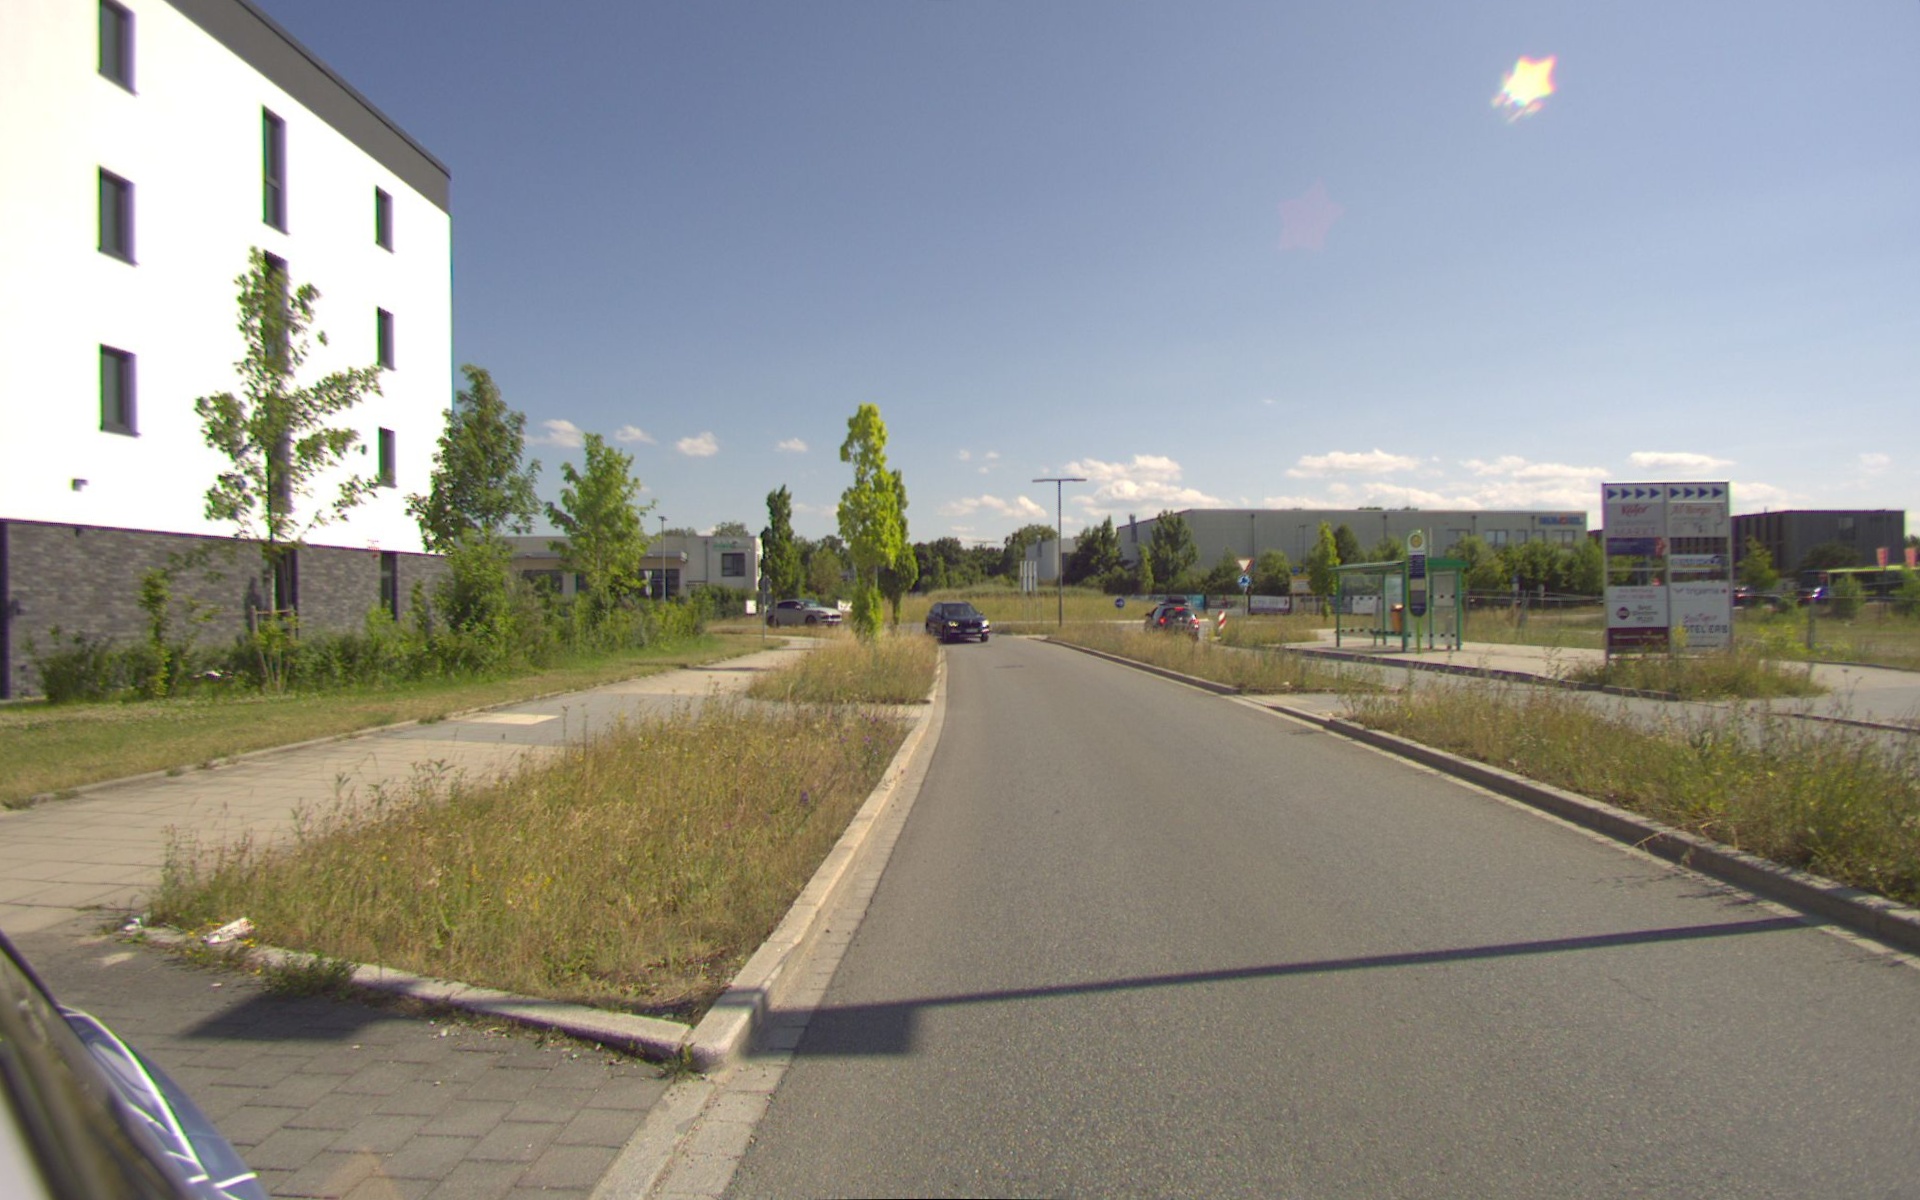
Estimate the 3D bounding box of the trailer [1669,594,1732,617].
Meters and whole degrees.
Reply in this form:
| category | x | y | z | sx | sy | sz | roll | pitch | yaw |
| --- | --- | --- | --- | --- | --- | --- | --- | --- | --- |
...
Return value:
| category | x | y | z | sx | sy | sz | roll | pitch | yaw |
| --- | --- | --- | --- | --- | --- | --- | --- | --- | --- |
| trailer | 59.838 | 0.449 | 81.807 | 3.936 | 1.874 | 1.832 | 0 | 0 | -9 |

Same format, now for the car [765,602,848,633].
| category | x | y | z | sx | sy | sz | roll | pitch | yaw |
| --- | --- | --- | --- | --- | --- | --- | --- | --- | --- |
| car | -8.517 | 0.954 | 56.106 | 4.382 | 1.586 | 1.823 | 0 | 1 | 31 |

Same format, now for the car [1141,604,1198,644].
| category | x | y | z | sx | sy | sz | roll | pitch | yaw |
| --- | --- | --- | --- | --- | --- | --- | --- | --- | --- |
| car | 8.491 | 0.935 | 41.281 | 1.976 | 1.528 | 4.187 | 0 | 0 | 8 |

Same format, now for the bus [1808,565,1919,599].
| category | x | y | z | sx | sy | sz | roll | pitch | yaw |
| --- | --- | --- | --- | --- | --- | --- | --- | --- | --- |
| bus | 76.958 | -1.514 | 84.432 | 11.383 | 2.756 | 2.585 | -1 | 0 | -9 |

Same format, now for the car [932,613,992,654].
| category | x | y | z | sx | sy | sz | roll | pitch | yaw |
| --- | --- | --- | --- | --- | --- | --- | --- | --- | --- |
| car | 0.028 | 1.359 | 42.629 | 1.813 | 1.586 | 4.008 | -2 | -1 | -10 |
